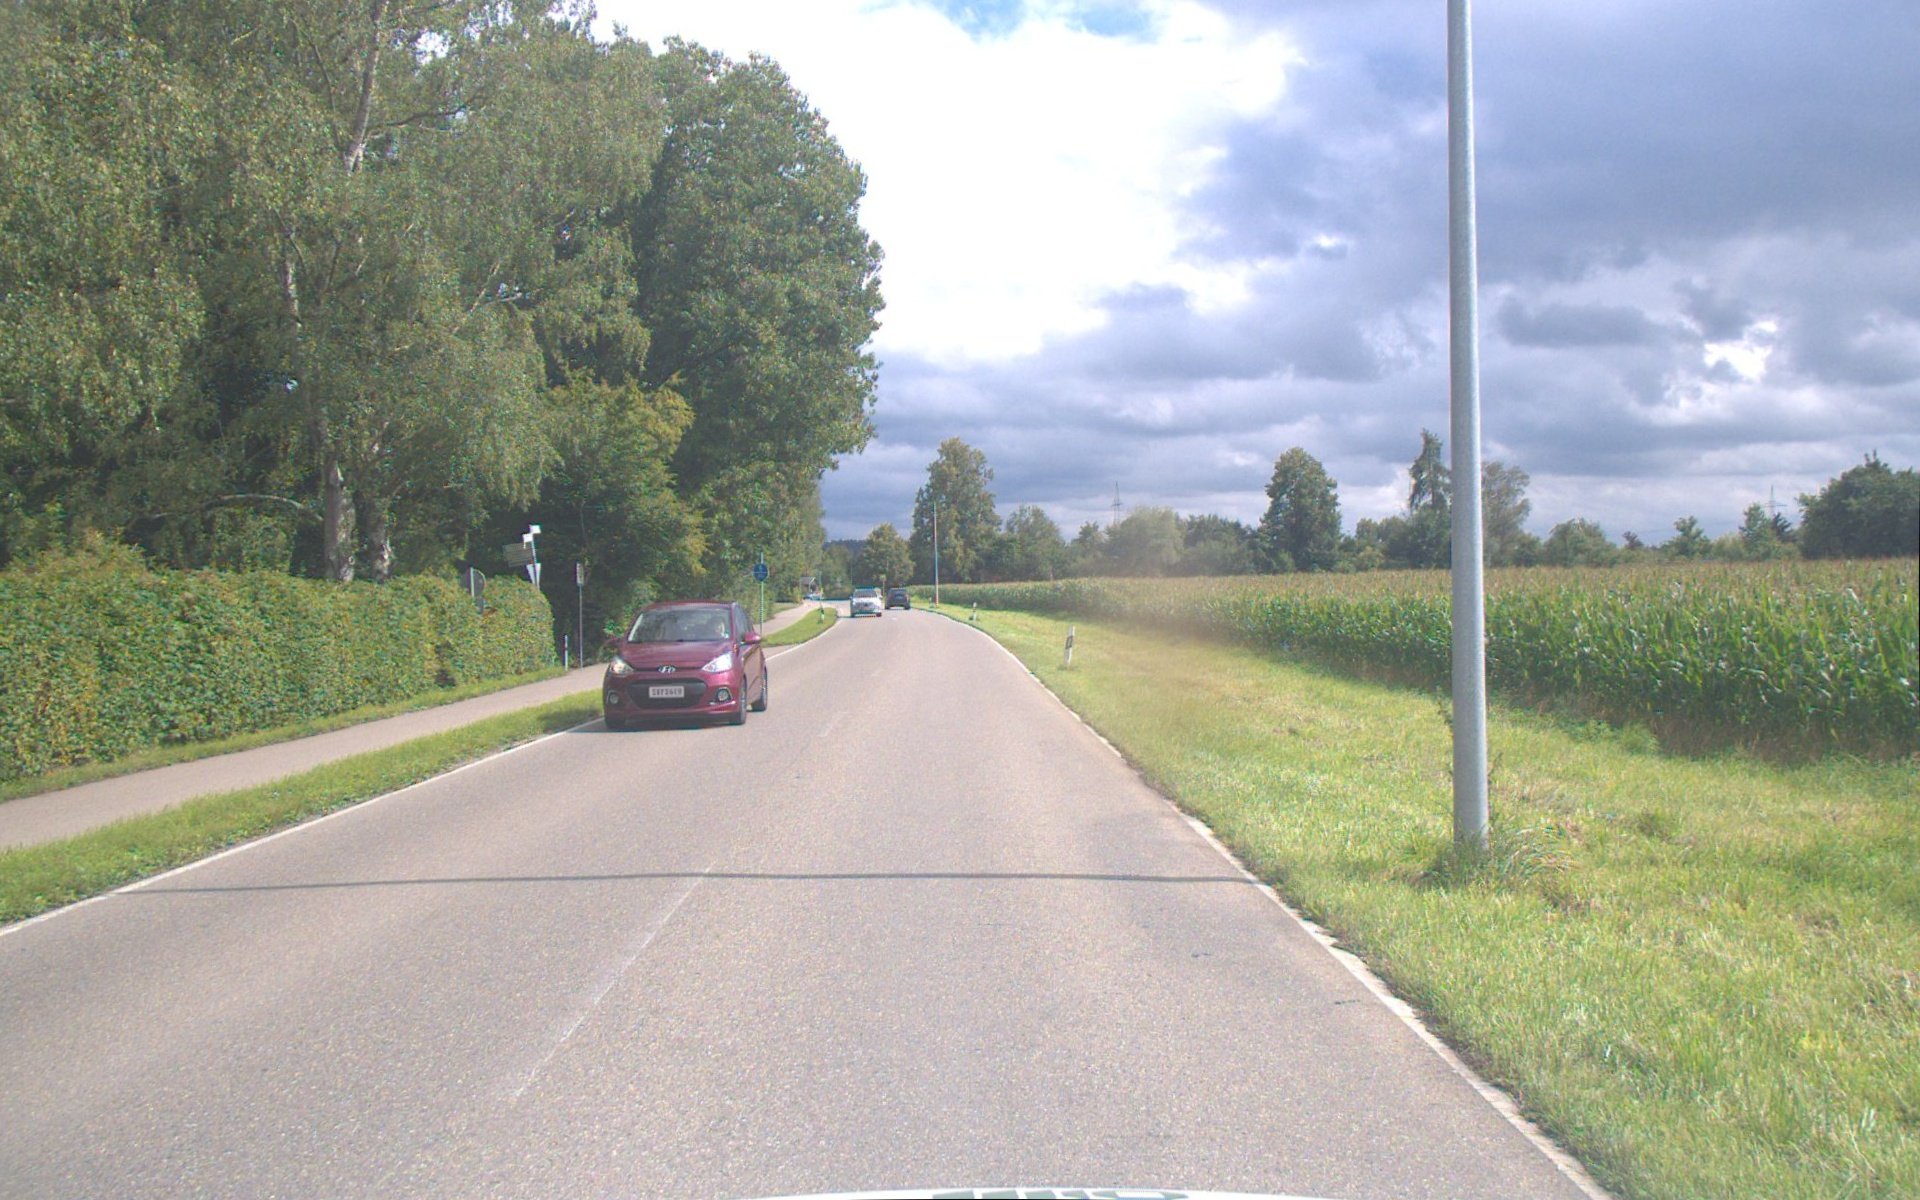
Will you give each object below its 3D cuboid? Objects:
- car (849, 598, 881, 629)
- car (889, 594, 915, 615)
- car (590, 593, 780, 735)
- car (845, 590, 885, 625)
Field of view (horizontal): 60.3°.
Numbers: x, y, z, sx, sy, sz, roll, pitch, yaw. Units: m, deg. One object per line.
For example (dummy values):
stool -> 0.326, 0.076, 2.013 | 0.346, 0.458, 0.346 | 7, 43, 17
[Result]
car -> -5.689, 0.783, 99.531 | 1.775, 1.679, 4.290 | -3, 1, -3
car -> -4.626, 0.392, 132.092 | 1.953, 1.613, 3.999 | 1, 0, -1
car -> -3.303, 0.710, 20.570 | 1.705, 1.496, 3.999 | -2, 1, -1
car -> -5.683, 0.436, 99.178 | 1.952, 2.049, 4.001 | 1, 0, 3
